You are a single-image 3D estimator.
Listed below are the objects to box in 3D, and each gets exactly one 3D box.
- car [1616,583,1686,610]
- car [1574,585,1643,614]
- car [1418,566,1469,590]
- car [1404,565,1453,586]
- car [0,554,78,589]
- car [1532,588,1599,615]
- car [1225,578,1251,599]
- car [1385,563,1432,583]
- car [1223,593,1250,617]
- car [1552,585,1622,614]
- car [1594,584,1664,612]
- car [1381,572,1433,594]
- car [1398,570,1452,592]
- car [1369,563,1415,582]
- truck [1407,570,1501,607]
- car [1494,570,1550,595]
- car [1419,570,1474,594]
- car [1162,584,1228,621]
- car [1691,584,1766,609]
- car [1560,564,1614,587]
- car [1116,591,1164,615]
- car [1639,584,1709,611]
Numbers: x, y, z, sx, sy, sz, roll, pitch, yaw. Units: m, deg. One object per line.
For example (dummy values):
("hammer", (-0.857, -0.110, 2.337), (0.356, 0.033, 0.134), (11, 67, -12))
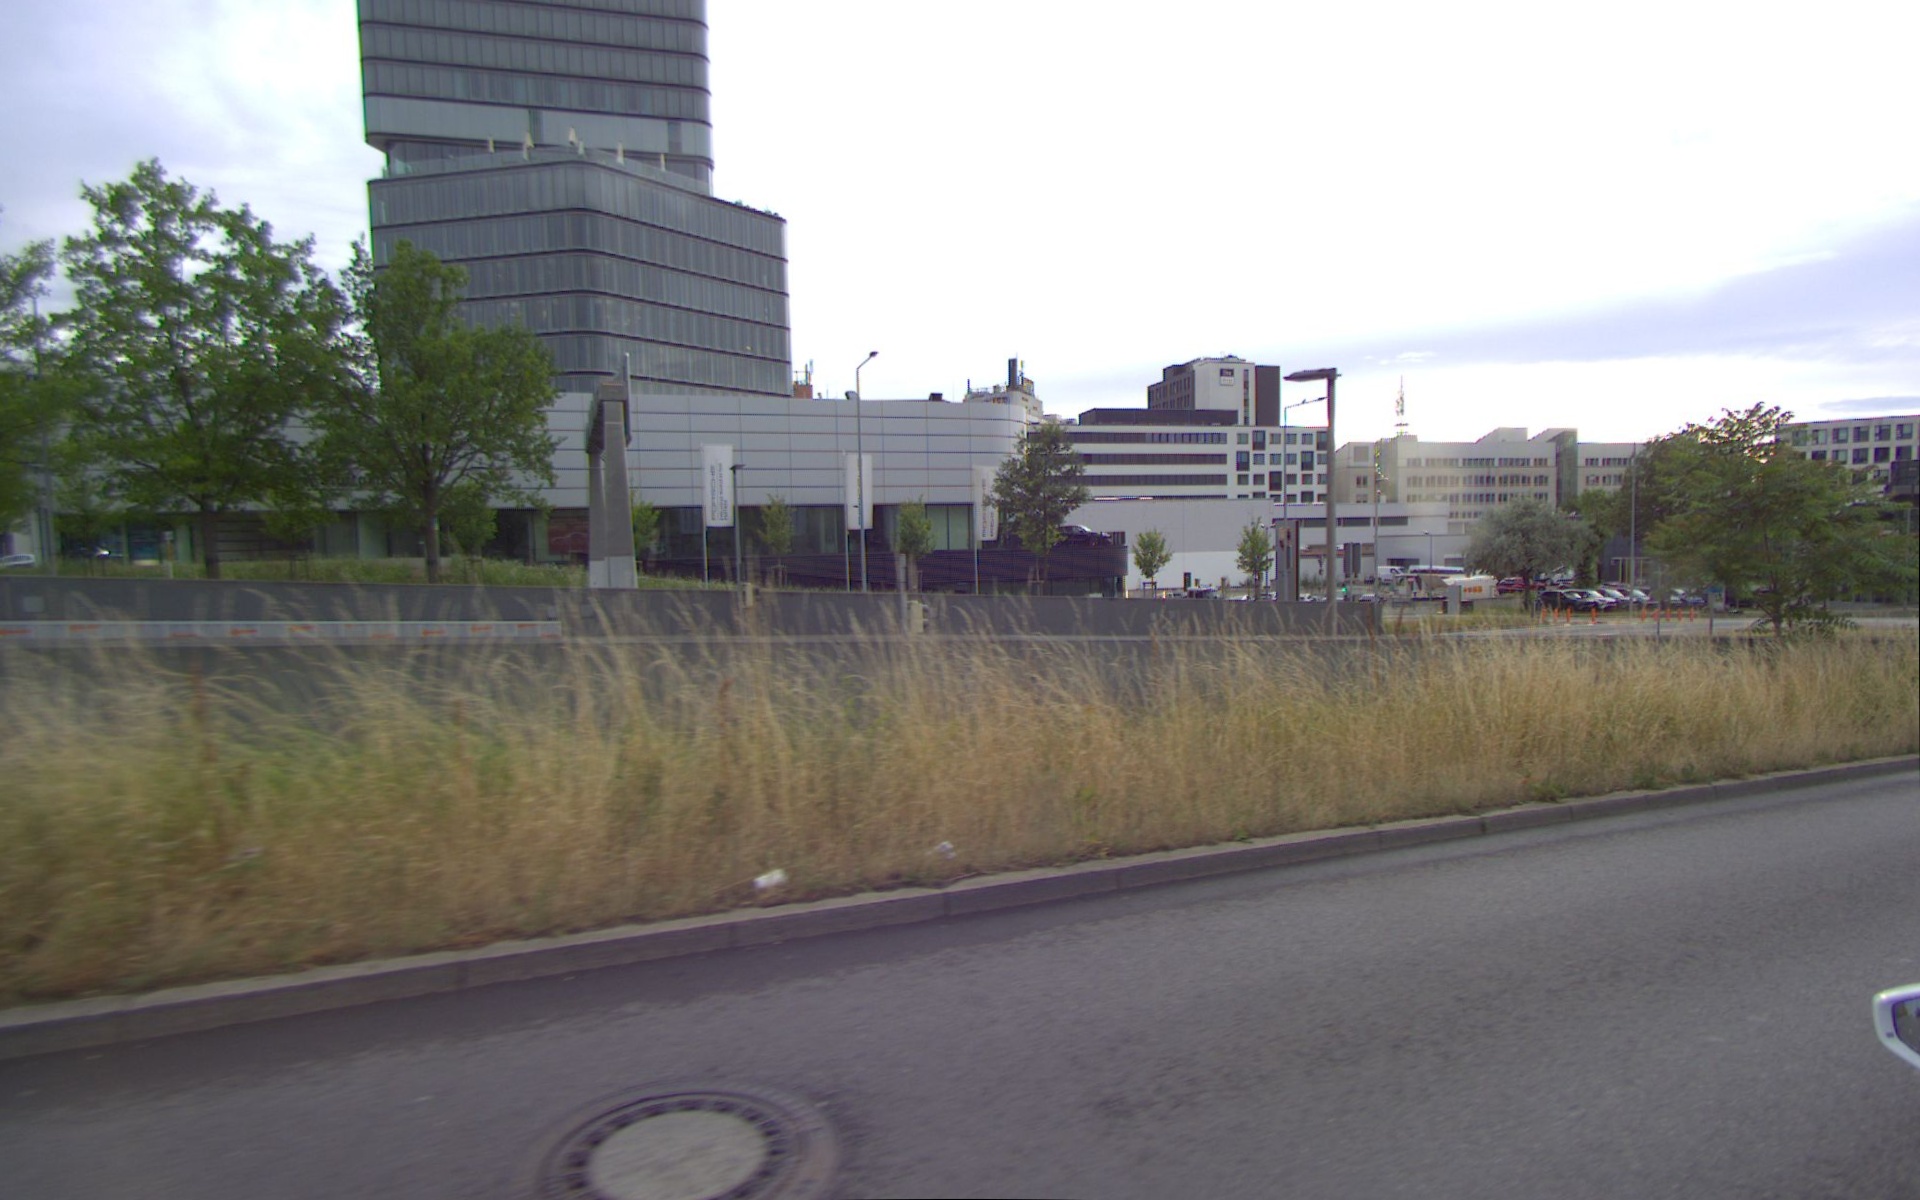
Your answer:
("car", (52.447, -0.294, 76.296), (1.894, 1.707, 3.981), (-3, 6, -19))
("car", (48.029, -0.055, 74.497), (1.894, 1.707, 3.981), (-3, 6, -19))
("car", (44.988, -2.061, 93.430), (3.933, 1.908, 1.993), (-2, 5, -15))
("car", (44.821, -2.367, 96.091), (3.934, 1.707, 1.916), (-2, 5, -16))
("car", (-58.403, -1.818, 63.099), (3.926, 2.041, 1.997), (-2, 5, -7))
("car", (43.878, 0.077, 72.929), (1.673, 1.622, 3.994), (-3, 6, -19))
("car", (26.560, -1.124, 95.887), (1.961, 1.729, 3.998), (1, 6, 20))
("car", (44.262, -2.701, 99.089), (3.934, 1.707, 1.916), (-2, 5, -16))
("car", (24.473, 0.399, 88.918), (1.961, 1.707, 3.998), (1, 6, 20))
("car", (45.973, -0.065, 73.723), (1.894, 1.707, 3.981), (-3, 6, -19))
("car", (50.172, -0.182, 75.428), (1.894, 1.707, 3.981), (-3, 6, -19))
("car", (40.077, -1.560, 90.018), (3.934, 1.707, 1.916), (-2, 5, -16))
("car", (40.690, -1.666, 87.925), (3.934, 1.707, 1.916), (-2, 5, -16))
("car", (43.568, -2.797, 101.317), (3.934, 1.707, 1.916), (-2, 5, -16))
("truck", (39.996, -0.990, 81.288), (7.295, 2.563, 2.363), (-3, 6, -19))
("car", (48.181, -1.533, 86.095), (3.933, 1.908, 1.901), (-2, 5, -15))
("car", (41.212, -1.538, 85.084), (3.934, 1.707, 1.916), (-2, 5, -16))
("car", (19.491, 0.173, 83.529), (2.503, 2.524, 5.110), (-4, 6, -30))
("car", (60.115, -0.318, 78.596), (4.414, 1.707, 1.922), (-1, 5, -2))
("car", (56.817, -2.241, 91.066), (3.939, 1.807, 1.914), (4, 7, 40))
("car", (15.683, 0.241, 87.653), (1.980, 1.707, 3.960), (-4, 6, -35))
("car", (54.667, -0.236, 76.958), (1.894, 1.707, 3.981), (-3, 6, -19))
